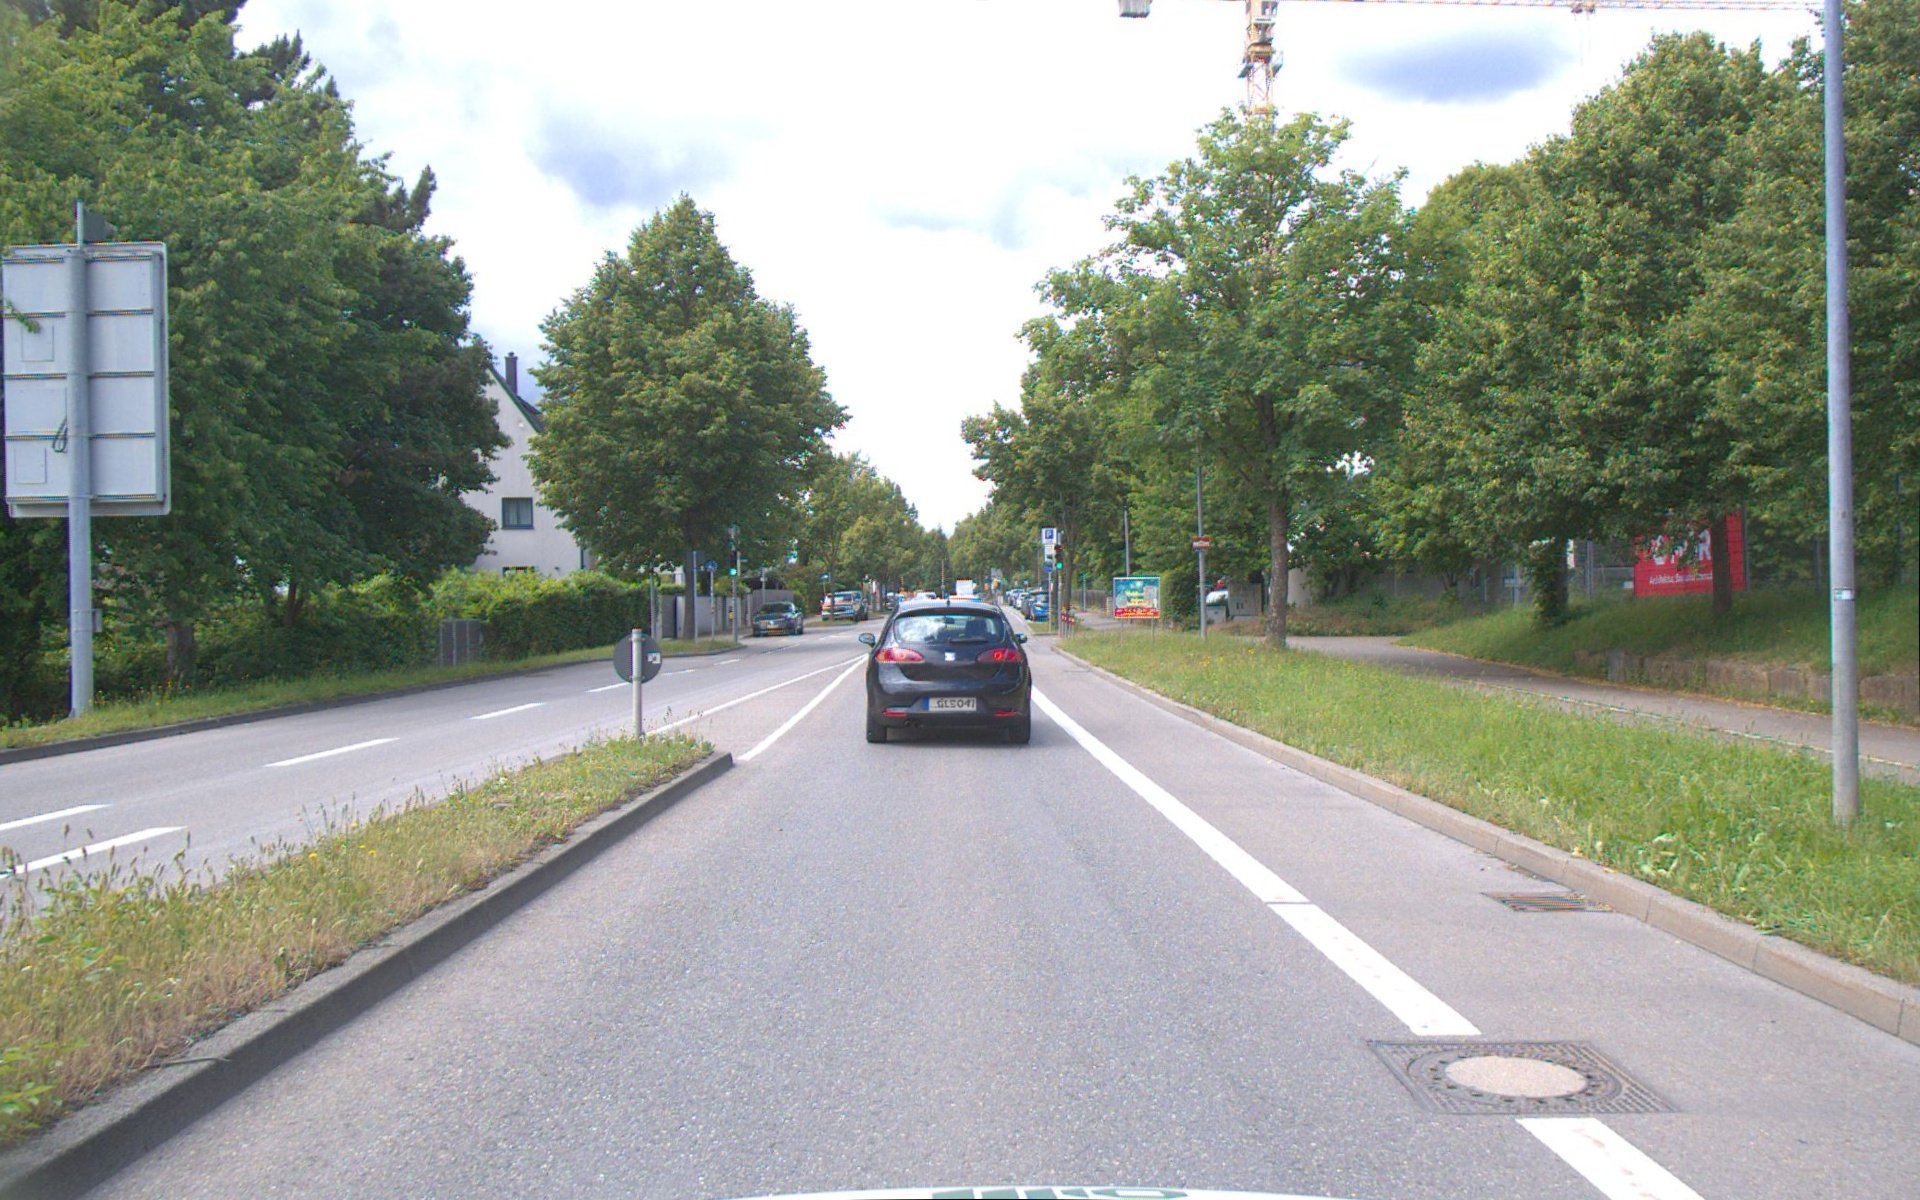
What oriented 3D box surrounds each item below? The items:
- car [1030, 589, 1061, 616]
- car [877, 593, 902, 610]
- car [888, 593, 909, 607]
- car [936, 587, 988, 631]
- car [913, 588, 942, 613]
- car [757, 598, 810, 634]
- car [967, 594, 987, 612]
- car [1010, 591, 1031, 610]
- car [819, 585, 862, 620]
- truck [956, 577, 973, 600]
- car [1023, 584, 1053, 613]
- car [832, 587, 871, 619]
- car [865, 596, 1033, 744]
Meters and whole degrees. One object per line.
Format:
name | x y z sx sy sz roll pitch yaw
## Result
car | 4.921 0.144 95.387 1.653 1.516 3.355 -1 0 0
car | -6.721 0.130 158.040 2.057 1.532 5.784 -3 0 0
car | -7.069 0.006 190.868 2.057 1.532 5.784 -3 0 0
car | 0.092 0.314 60.384 1.808 1.536 3.812 1 0 1
car | -2.358 0.014 120.552 1.836 1.663 4.342 -3 0 2
car | -7.613 0.676 71.610 1.683 1.419 4.801 -3 0 0
car | 1.677 0.317 163.384 1.843 1.718 4.214 -1 0 0
car | 5.260 -0.003 143.660 1.653 1.591 4.214 -1 0 0
car | -7.238 0.130 100.763 2.057 1.929 5.784 -3 0 0
truck | 0.606 -1.560 234.816 2.232 3.158 8.510 1 0 0
car | 4.707 -0.100 100.394 1.653 1.741 4.214 -1 0 0
car | -7.085 0.167 108.260 2.057 1.929 5.784 -3 0 0
car | -0.133 0.685 18.009 1.629 1.426 3.811 1 0 -1
